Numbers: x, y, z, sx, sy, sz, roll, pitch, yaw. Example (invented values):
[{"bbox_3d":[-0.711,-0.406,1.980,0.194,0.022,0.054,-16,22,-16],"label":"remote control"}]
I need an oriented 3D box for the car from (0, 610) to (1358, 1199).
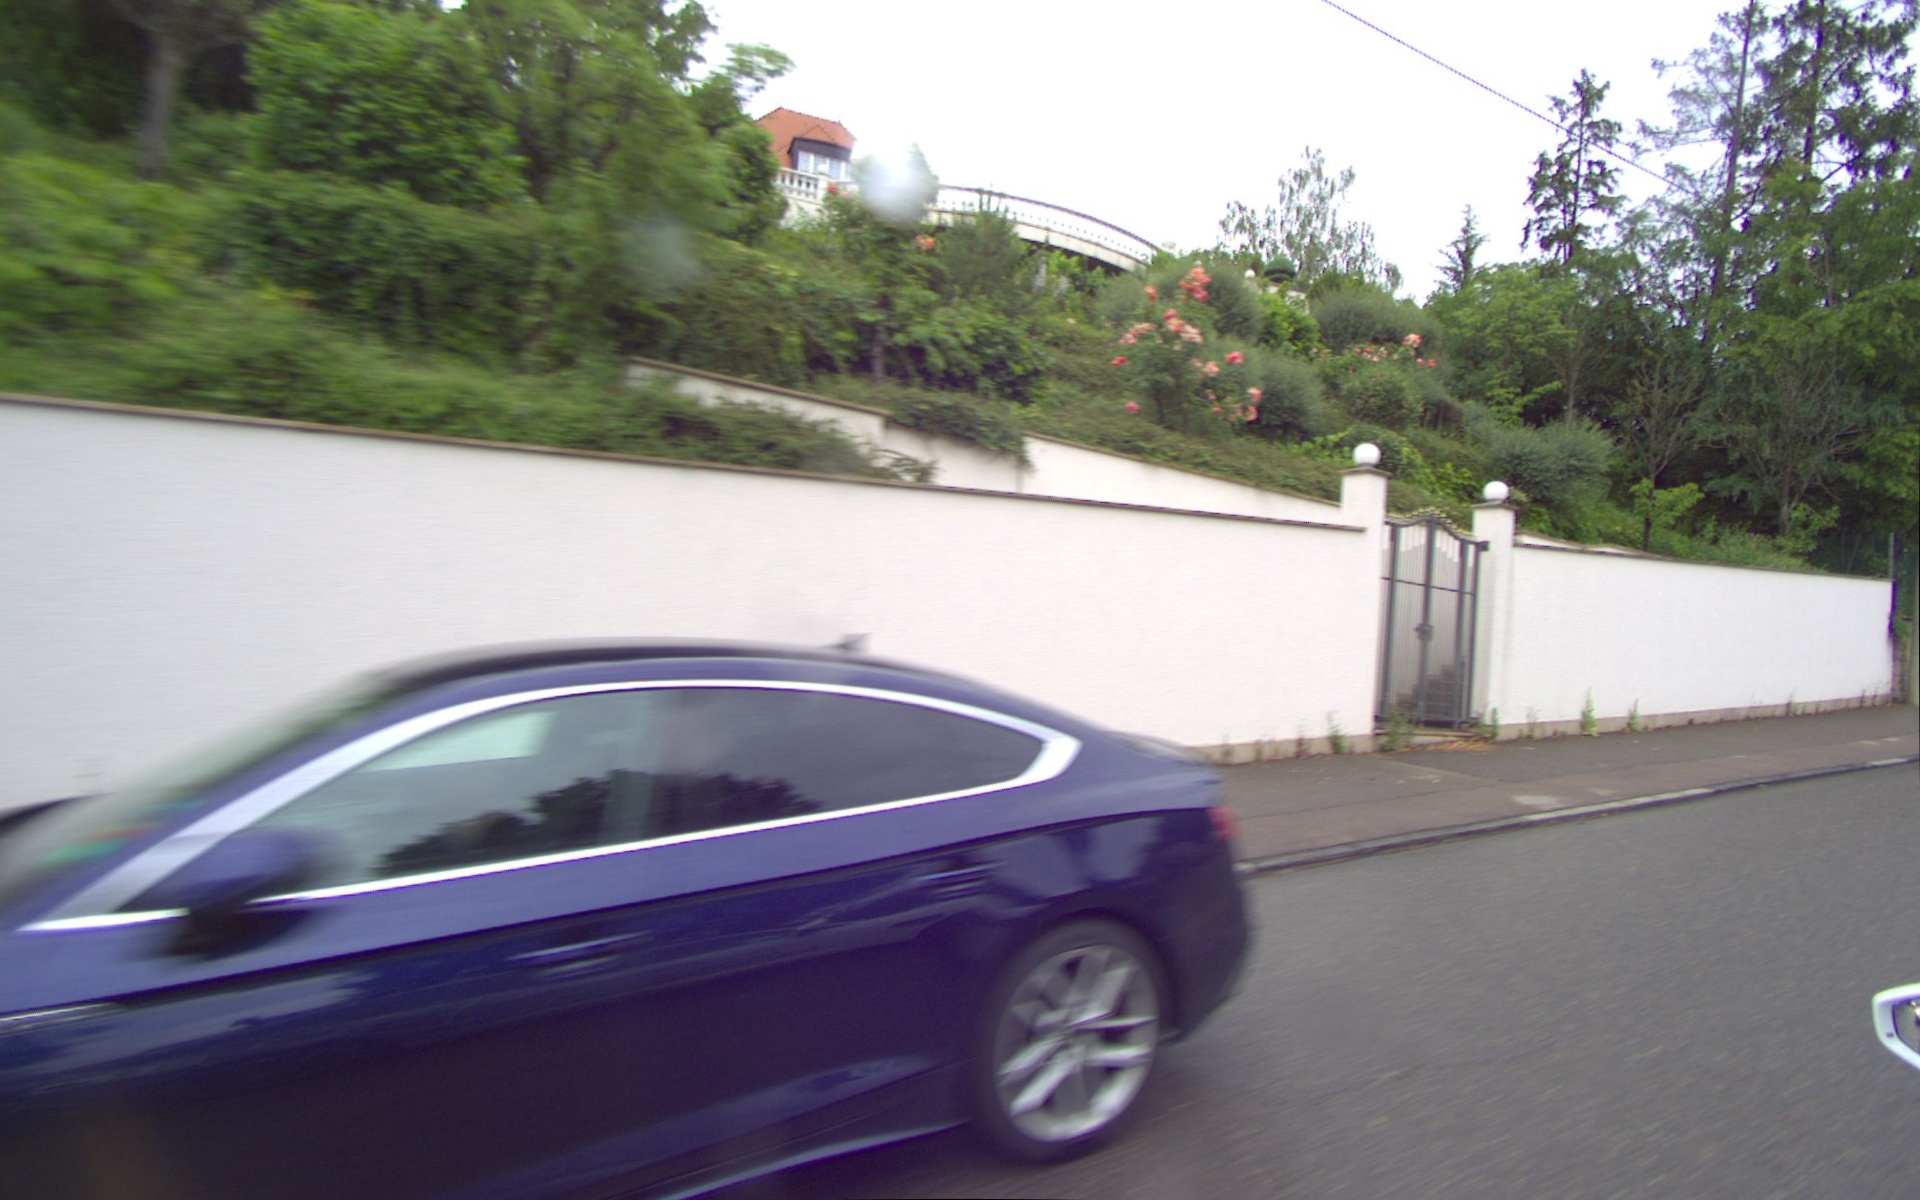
[{"bbox_3d":[-1.028,0.738,2.815,4.375,1.375,1.739,1,-1,-32],"label":"car"}]
